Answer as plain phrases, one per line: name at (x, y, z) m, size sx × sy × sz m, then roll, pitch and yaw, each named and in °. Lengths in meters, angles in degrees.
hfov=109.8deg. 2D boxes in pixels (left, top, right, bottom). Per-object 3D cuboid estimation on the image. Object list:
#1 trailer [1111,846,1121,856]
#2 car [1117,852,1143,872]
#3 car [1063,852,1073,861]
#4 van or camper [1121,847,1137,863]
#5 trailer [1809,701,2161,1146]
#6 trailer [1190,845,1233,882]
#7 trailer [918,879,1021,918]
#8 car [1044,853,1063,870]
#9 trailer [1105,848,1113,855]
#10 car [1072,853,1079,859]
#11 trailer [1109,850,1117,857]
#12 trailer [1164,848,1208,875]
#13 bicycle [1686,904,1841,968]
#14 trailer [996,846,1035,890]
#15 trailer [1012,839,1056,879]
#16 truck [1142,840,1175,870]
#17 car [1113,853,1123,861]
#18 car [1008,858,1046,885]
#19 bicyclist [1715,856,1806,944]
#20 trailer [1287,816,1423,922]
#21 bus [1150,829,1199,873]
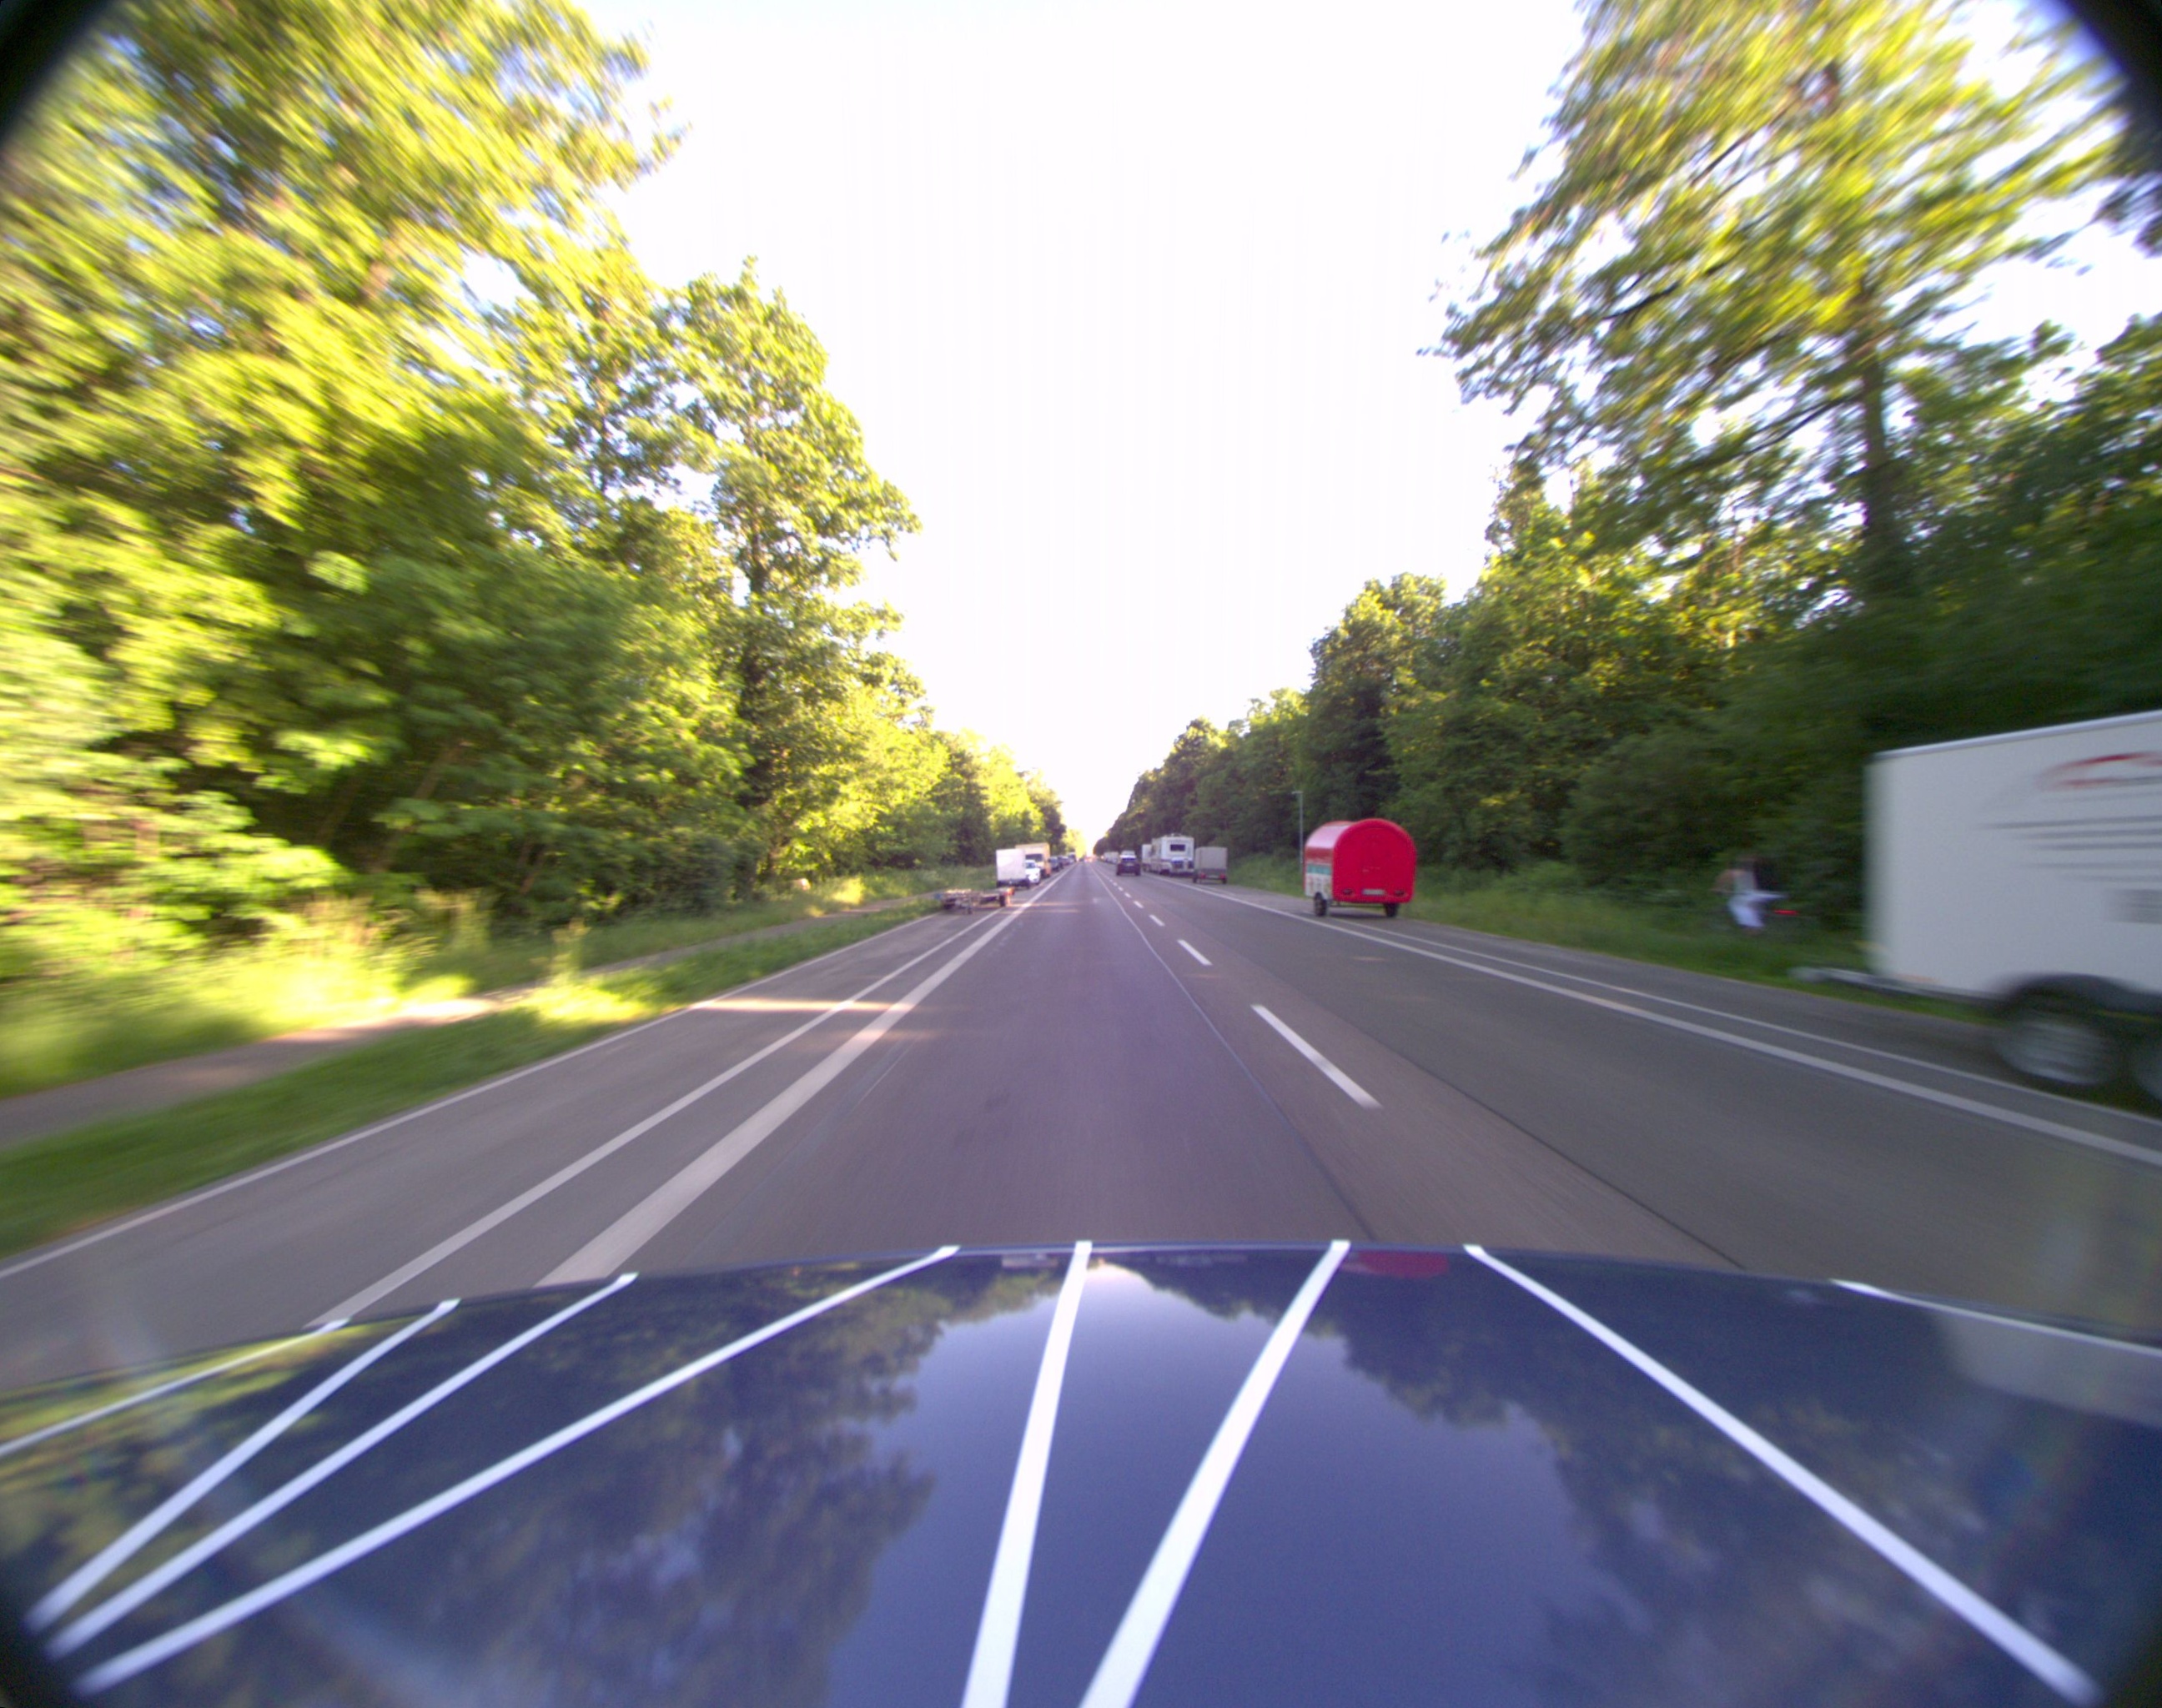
trailer at (7.833, -0.730, 170.653) m, size 1.998 × 2.227 × 3.999 m, roll -2°, pitch 1°, yaw 0°
car at (3.942, 0.615, 61.379) m, size 1.823 × 1.577 × 4.459 m, roll 0°, pitch 1°, yaw 1°
car at (-2.632, 0.528, 154.834) m, size 1.837 × 1.608 × 4.000 m, roll -2°, pitch 0°, yaw 0°
van or camper at (7.998, 0.164, 125.897) m, size 2.253 × 2.599 × 5.984 m, roll -1°, pitch 0°, yaw 0°
trailer at (7.009, 0.377, 4.422) m, size 2.072 × 2.466 × 3.560 m, roll -1°, pitch 0°, yaw -3°
trailer at (7.460, 0.518, 43.728) m, size 1.858 × 2.002 × 3.561 m, roll 1°, pitch 0°, yaw 1°
trailer at (-3.467, 1.399, 24.900) m, size 2.439 × 0.794 × 5.659 m, roll -2°, pitch 1°, yaw 1°
car at (-2.976, 0.820, 82.537) m, size 1.804 × 1.681 × 4.601 m, roll -2°, pitch 1°, yaw 0°
trailer at (8.393, -0.748, 226.112) m, size 2.306 × 1.972 × 3.999 m, roll -2°, pitch 1°, yaw 0°
car at (-1.387, 0.459, 198.360) m, size 1.837 × 1.608 × 4.000 m, roll -2°, pitch 0°, yaw 0°
trailer at (8.118, -0.084, 192.416) m, size 1.998 × 1.776 × 3.999 m, roll -2°, pitch 1°, yaw 0°
trailer at (7.859, 0.541, 57.408) m, size 2.434 × 1.903 × 6.263 m, roll -2°, pitch 0°, yaw 0°
bicycle at (11.138, 1.307, 12.516) m, size 0.672 × 0.796 × 2.098 m, roll -2°, pitch 1°, yaw 1°
trailer at (-3.373, 0.674, 39.605) m, size 1.759 × 2.149 × 3.539 m, roll -1°, pitch 0°, yaw -1°
trailer at (-3.704, 0.295, 62.296) m, size 2.929 × 2.825 × 9.881 m, roll -4°, pitch 1°, yaw -1°
truck at (7.801, 0.067, 77.437) m, size 2.489 × 2.807 × 8.424 m, roll -2°, pitch 0°, yaw 0°
car at (8.006, 0.630, 163.692) m, size 1.998 × 1.620 × 4.144 m, roll -2°, pitch 0°, yaw 0°
car at (-3.179, 0.992, 45.545) m, size 1.892 × 1.459 × 4.569 m, roll -2°, pitch 0°, yaw 0°
bicyclist at (11.107, 0.722, 12.453) m, size 0.672 × 1.356 × 0.905 m, roll -2°, pitch 1°, yaw 1°
trailer at (6.937, 0.349, 19.657) m, size 2.072 × 2.466 × 3.560 m, roll -1°, pitch 0°, yaw -3°
bus at (7.978, -0.265, 66.165) m, size 2.835 × 3.411 × 11.199 m, roll -2°, pitch 1°, yaw 0°
